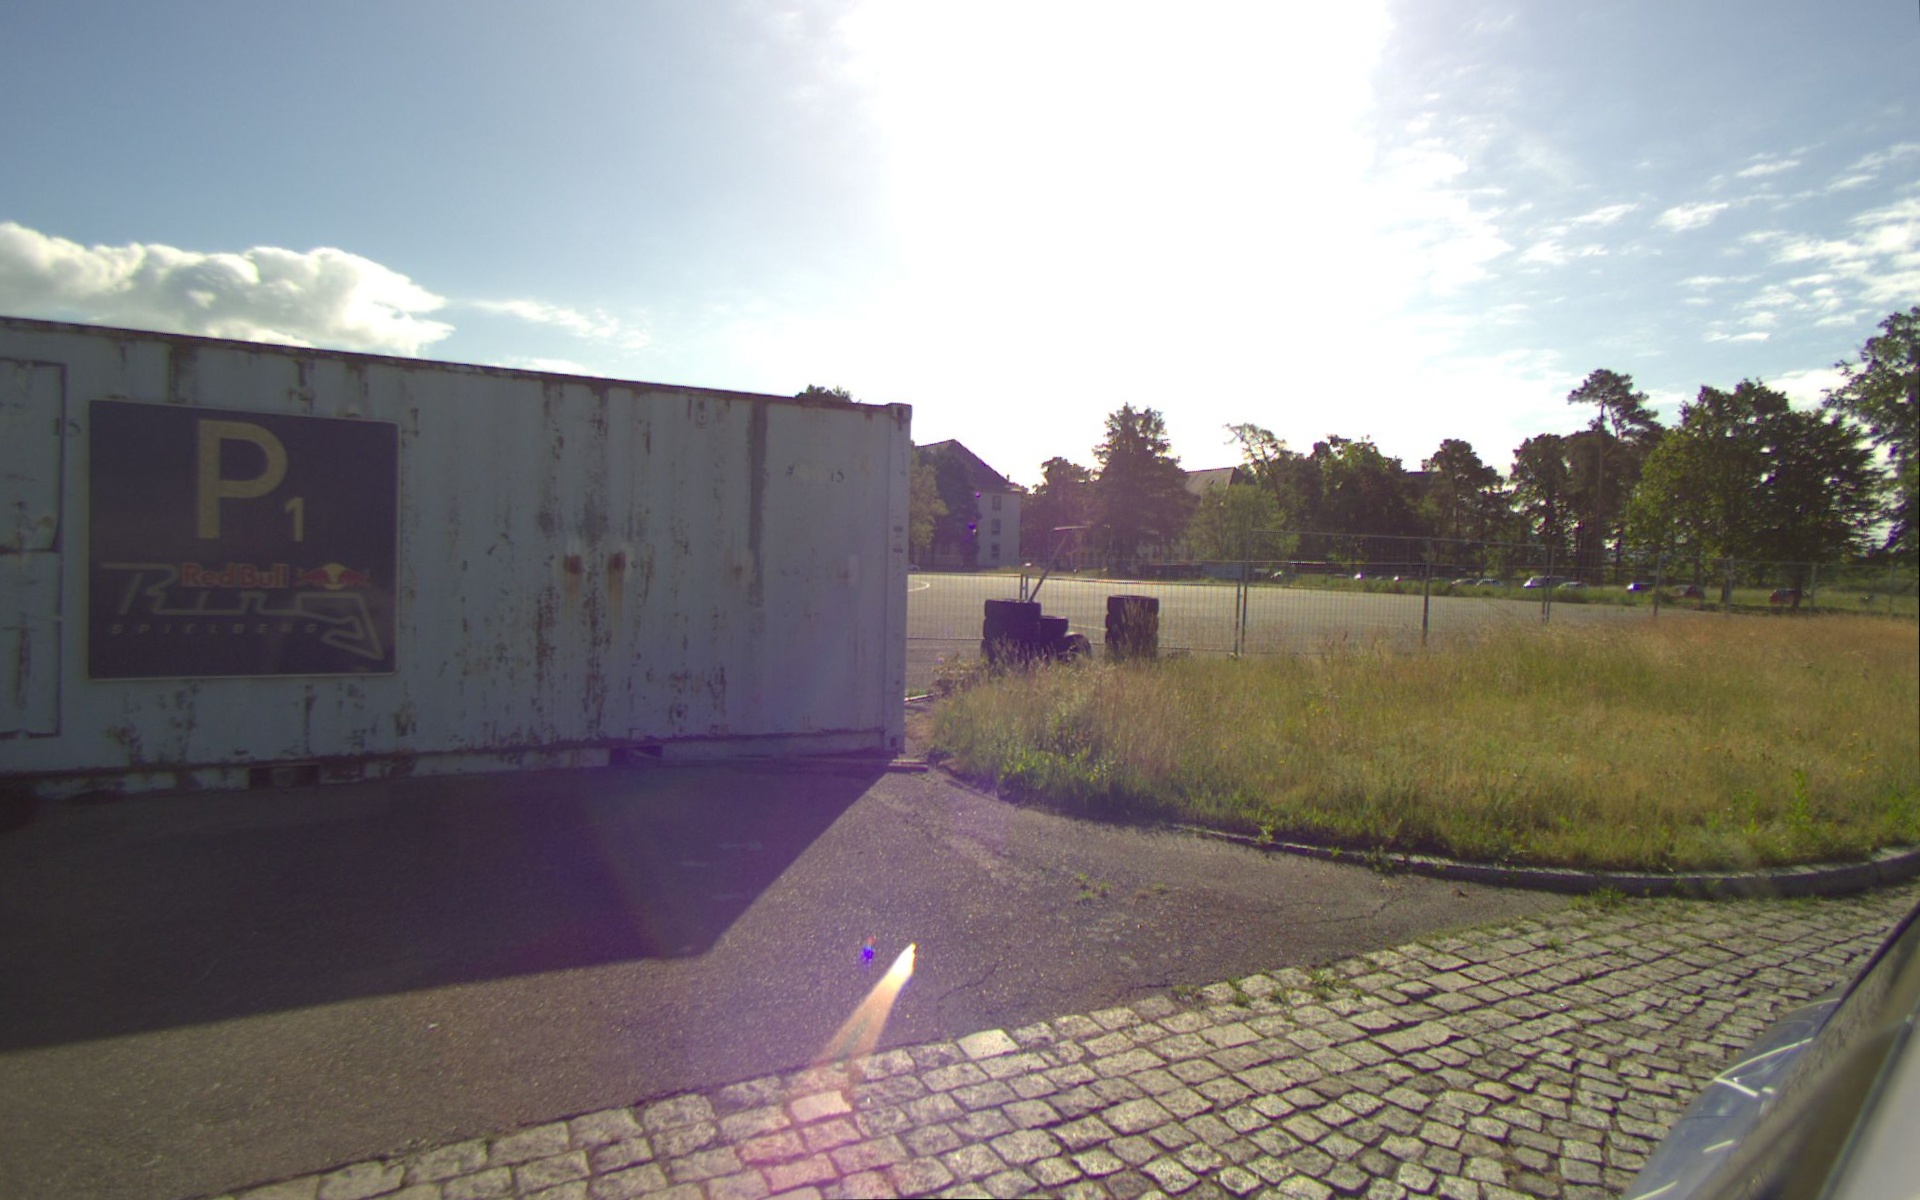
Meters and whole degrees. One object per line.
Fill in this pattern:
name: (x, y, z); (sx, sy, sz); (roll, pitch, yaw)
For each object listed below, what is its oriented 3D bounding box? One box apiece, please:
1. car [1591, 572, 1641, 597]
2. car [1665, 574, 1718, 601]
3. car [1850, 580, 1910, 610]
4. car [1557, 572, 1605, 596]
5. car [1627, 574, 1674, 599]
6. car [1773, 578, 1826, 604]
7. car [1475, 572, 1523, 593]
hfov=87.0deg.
car: (57.926, -1.357, 89.403); (3.918, 2.038, 2.004); (1, 2, -28)
car: (59.873, -1.007, 82.860); (3.919, 2.038, 2.003); (1, 2, -29)
car: (65.679, -0.347, 72.213); (3.920, 2.038, 2.003); (0, 2, -30)
car: (55.834, -1.445, 91.024); (3.920, 1.971, 2.003); (0, 3, -30)
car: (58.244, -1.141, 85.347); (3.925, 2.038, 2.000); (0, 3, -36)
car: (63.223, -0.676, 76.170); (3.923, 1.838, 2.001); (0, 3, -34)
car: (52.185, -1.675, 97.930); (3.916, 2.039, 2.004); (0, 0, -21)
